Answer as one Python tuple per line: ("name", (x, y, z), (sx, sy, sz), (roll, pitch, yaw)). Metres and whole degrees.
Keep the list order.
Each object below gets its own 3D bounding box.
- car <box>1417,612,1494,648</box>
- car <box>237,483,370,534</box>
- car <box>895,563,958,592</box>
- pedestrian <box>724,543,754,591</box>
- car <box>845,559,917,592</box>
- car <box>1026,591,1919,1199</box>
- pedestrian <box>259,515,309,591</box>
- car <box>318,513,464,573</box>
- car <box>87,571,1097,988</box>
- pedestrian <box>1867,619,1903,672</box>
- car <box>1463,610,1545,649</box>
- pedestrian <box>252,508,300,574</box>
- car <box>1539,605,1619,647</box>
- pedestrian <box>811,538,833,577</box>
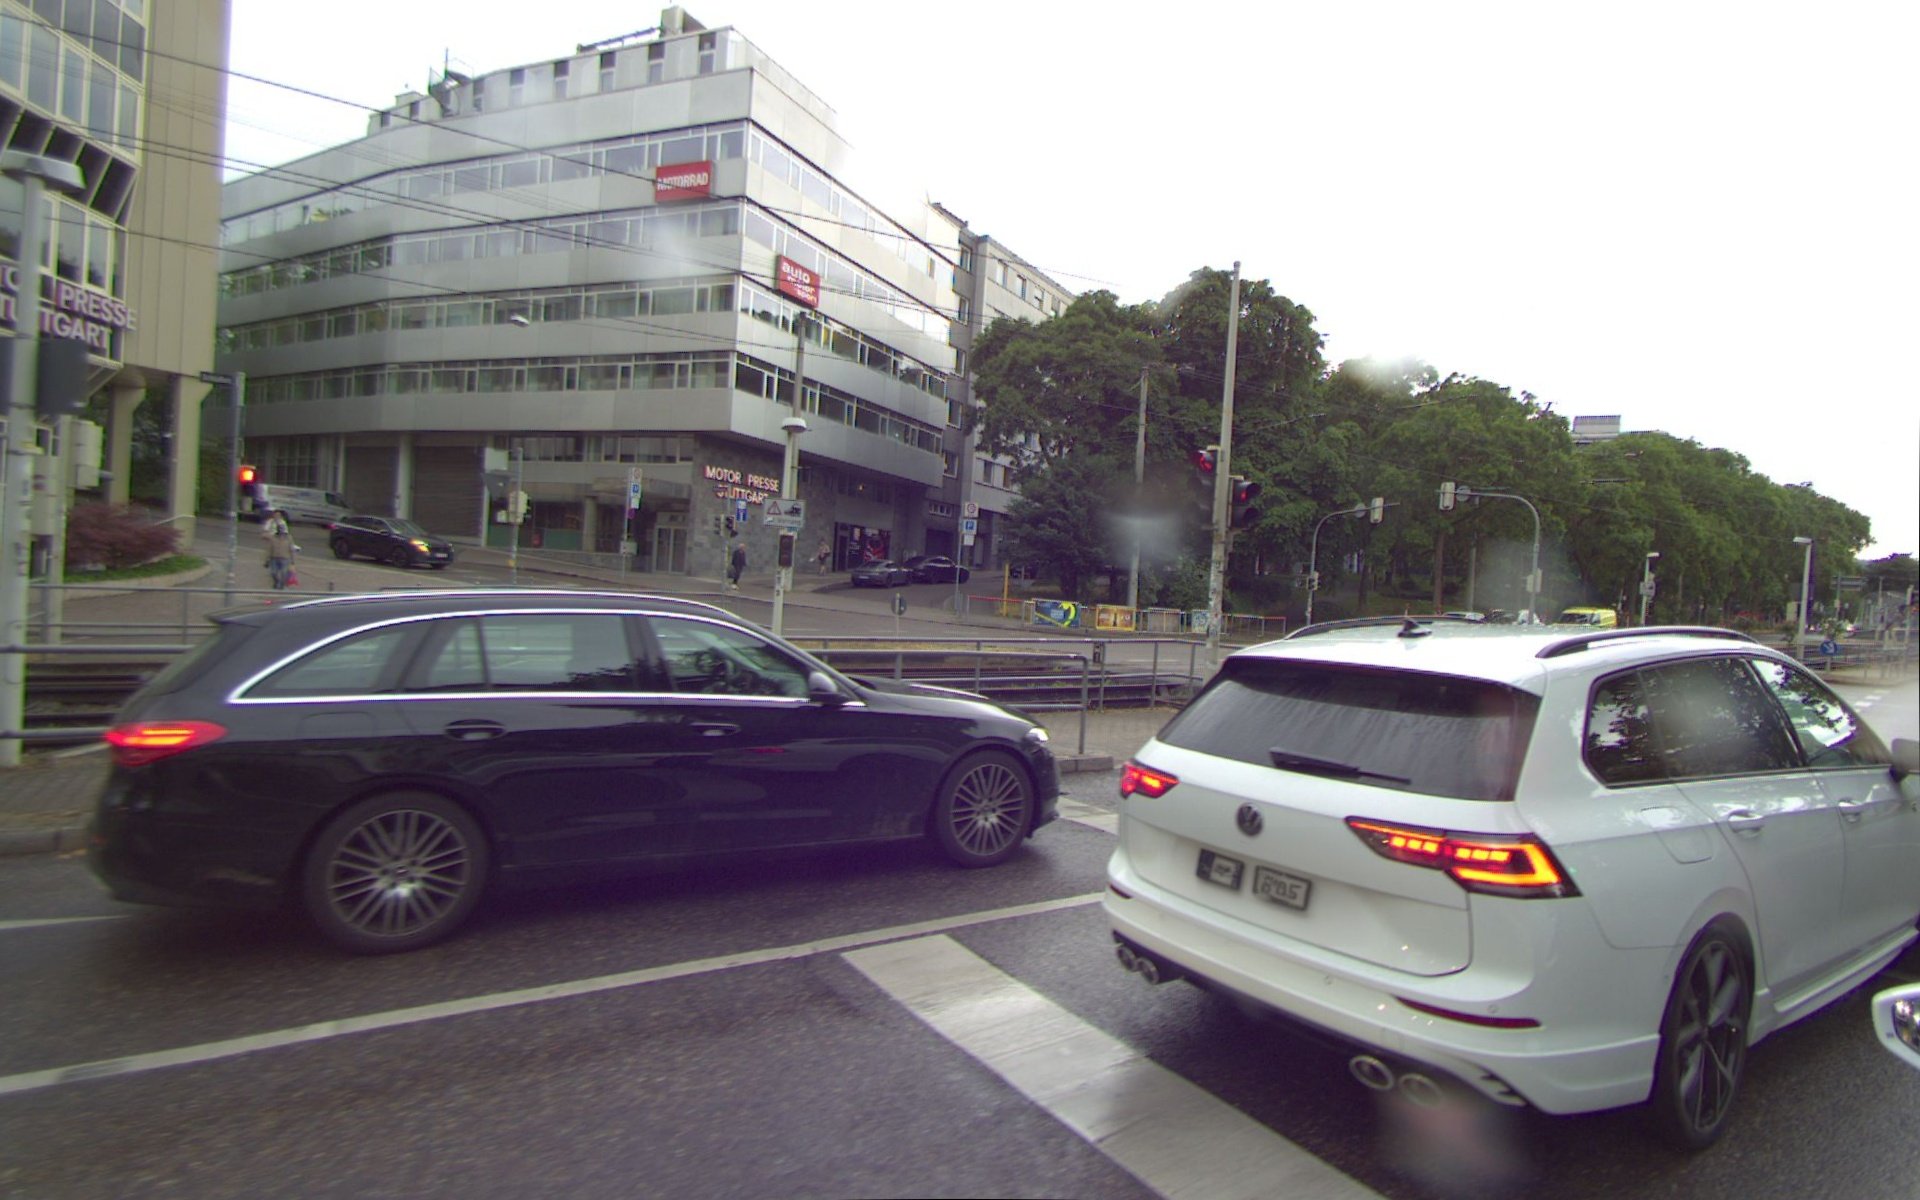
("car", (24.246, 1.493, 49.152), (3.648, 1.566, 1.905), (3, 1, -37))
("car", (-33.818, -4.668, 51.922), (1.964, 2.040, 5.403), (2, 0, 30))
("car", (-1.778, -1.201, 54.533), (1.842, 1.450, 3.998), (4, 2, 22))
("pedestrian", (-9.150, -1.367, 41.526), (0.833, 1.885, 0.719), (5, 2, 25))
("car", (-3.863, -1.171, 49.557), (1.842, 1.450, 4.091), (4, 2, 22))
("car", (2.567, 0.785, 4.155), (4.431, 1.461, 1.784), (2, 0, -35))
("pedestrian", (-16.734, -1.157, 24.882), (0.819, 1.810, 0.756), (3, 2, -22))
("car", (-20.536, -2.057, 36.224), (4.794, 1.601, 1.999), (7, 3, 23))
("car", (-1.575, 0.698, 5.427), (4.423, 1.461, 1.787), (2, 0, -30))
("pedestrian", (33.536, 1.640, 36.411), (0.860, 1.826, 0.863), (5, 2, 44))
("car", (24.584, 1.345, 45.363), (3.648, 1.566, 1.905), (3, 1, -37))
("pedestrian", (-18.253, -1.572, 26.792), (0.746, 1.660, 0.719), (5, 2, 25))
("car", (31.172, 1.318, 50.560), (4.526, 1.875, 1.905), (3, 1, -38))
("pedestrian", (-6.968, -2.147, 50.835), (0.706, 1.886, 0.759), (5, 4, 27))
